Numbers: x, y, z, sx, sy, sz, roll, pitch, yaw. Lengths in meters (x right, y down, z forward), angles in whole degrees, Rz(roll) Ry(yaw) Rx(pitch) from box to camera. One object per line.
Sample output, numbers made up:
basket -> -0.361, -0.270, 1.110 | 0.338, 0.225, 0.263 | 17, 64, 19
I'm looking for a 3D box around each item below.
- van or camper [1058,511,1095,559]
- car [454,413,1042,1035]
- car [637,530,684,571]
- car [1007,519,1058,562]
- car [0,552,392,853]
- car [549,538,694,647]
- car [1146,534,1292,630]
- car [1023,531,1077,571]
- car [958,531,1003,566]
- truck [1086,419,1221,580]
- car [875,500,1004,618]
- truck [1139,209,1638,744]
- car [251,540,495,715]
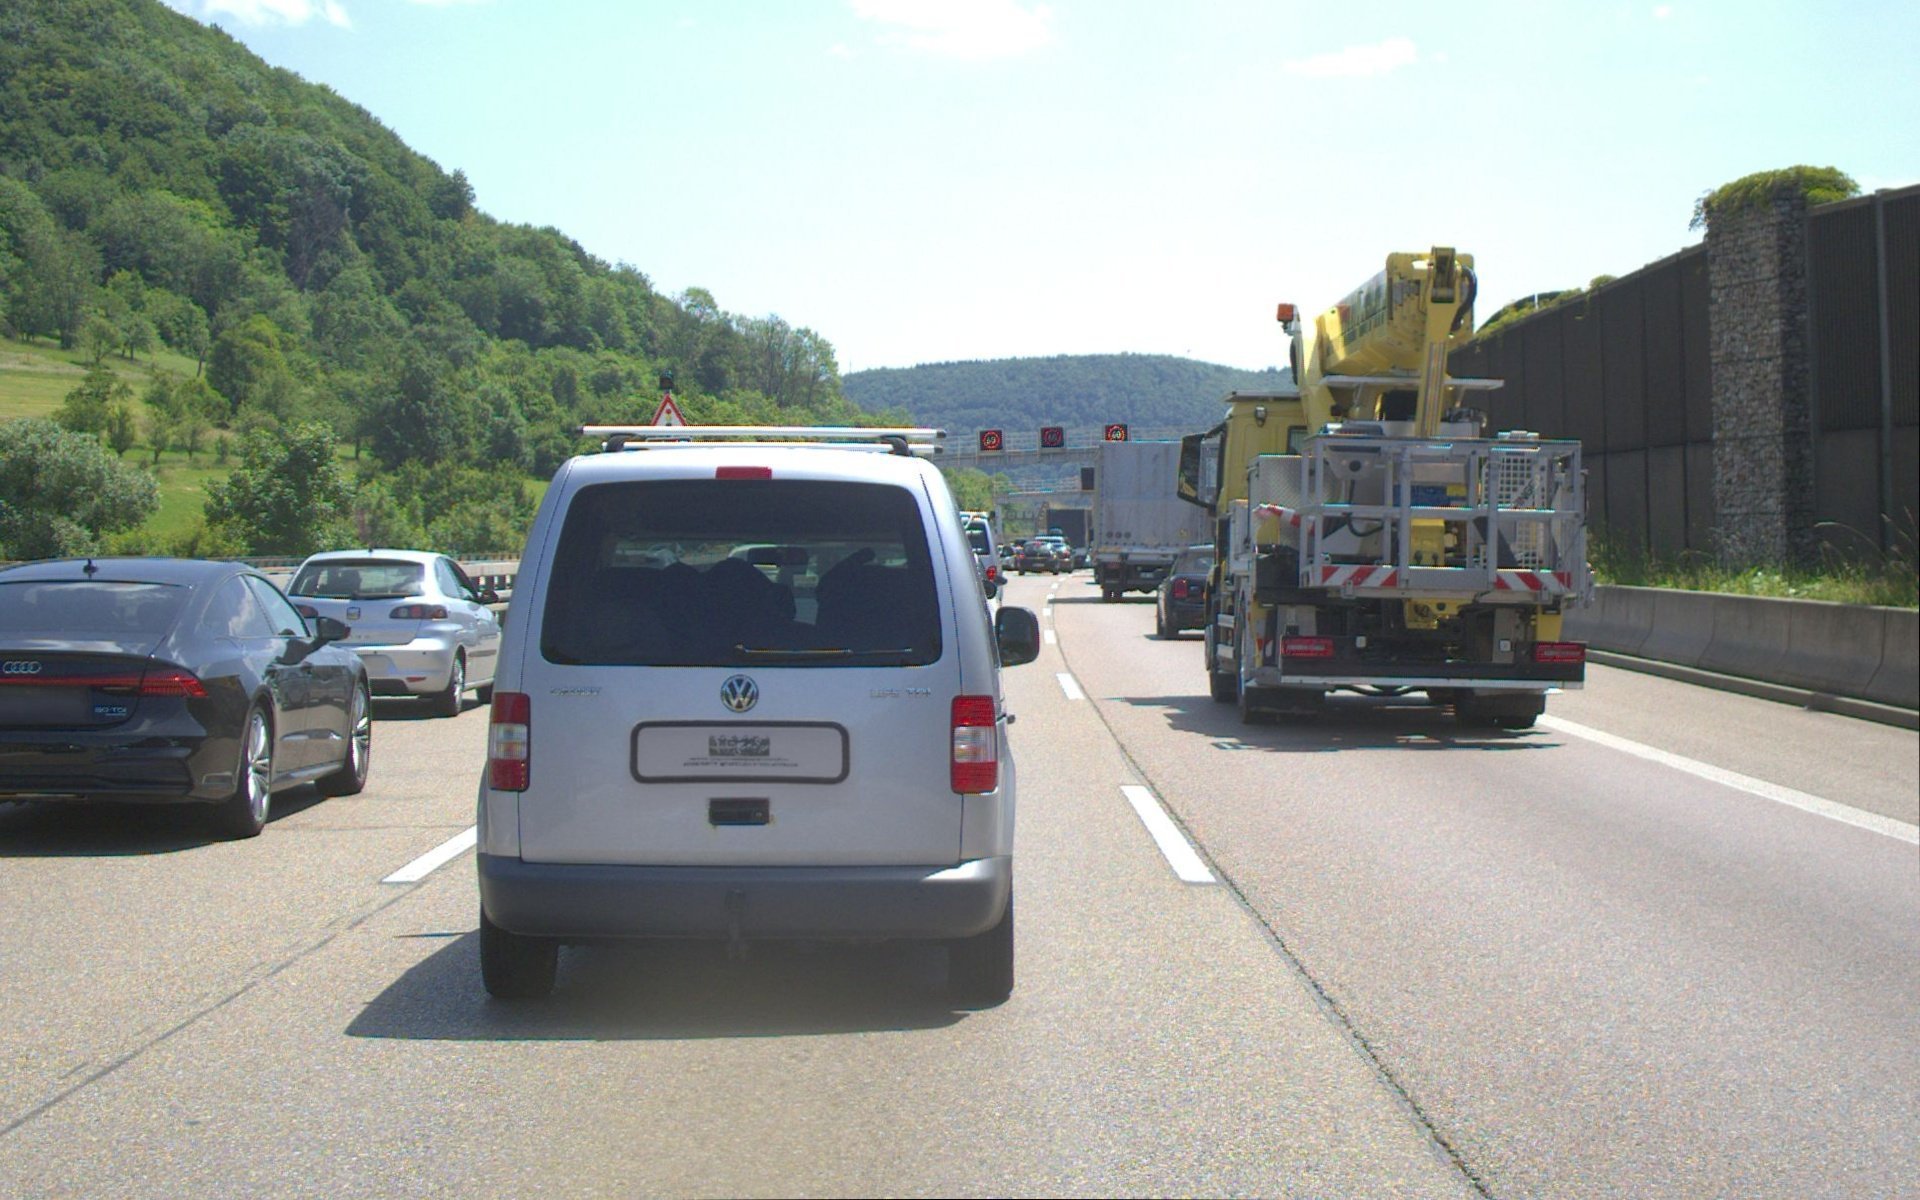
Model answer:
van or camper -> 7.159, -3.983, 211.679 | 1.993, 2.943, 5.423 | 1, 1, -1
car -> -0.755, 0.332, 12.350 | 1.756, 1.861, 4.001 | 0, 1, -3
car -> -14.932, -2.458, 171.483 | 1.993, 2.007, 4.000 | 0, 1, -1
car -> 3.045, -2.481, 144.568 | 1.993, 1.743, 4.000 | 1, 1, -1
car -> -4.409, 0.452, 18.692 | 1.800, 1.385, 4.970 | 0, 1, 0
car -> -4.864, -0.144, 49.820 | 1.924, 1.494, 4.001 | 0, 1, -3
car -> 4.025, -0.308, 53.986 | 1.786, 1.453, 3.771 | 0, 1, -3
car -> 4.181, -2.266, 159.792 | 2.114, 1.821, 4.001 | 1, 1, -4
car -> 1.082, -2.729, 183.496 | 2.114, 1.821, 4.001 | 1, 1, -4
truck -> 4.760, -2.437, 86.084 | 2.940, 3.810, 8.237 | 1, 1, 1
car -> -0.386, -0.723, 59.387 | 1.993, 1.969, 4.001 | 0, 1, -3
truck -> 3.394, -0.997, 29.701 | 2.703, 3.929, 8.723 | 0, 1, -3
car -> -5.141, 0.195, 30.511 | 1.695, 1.440, 3.862 | 0, 1, -3
